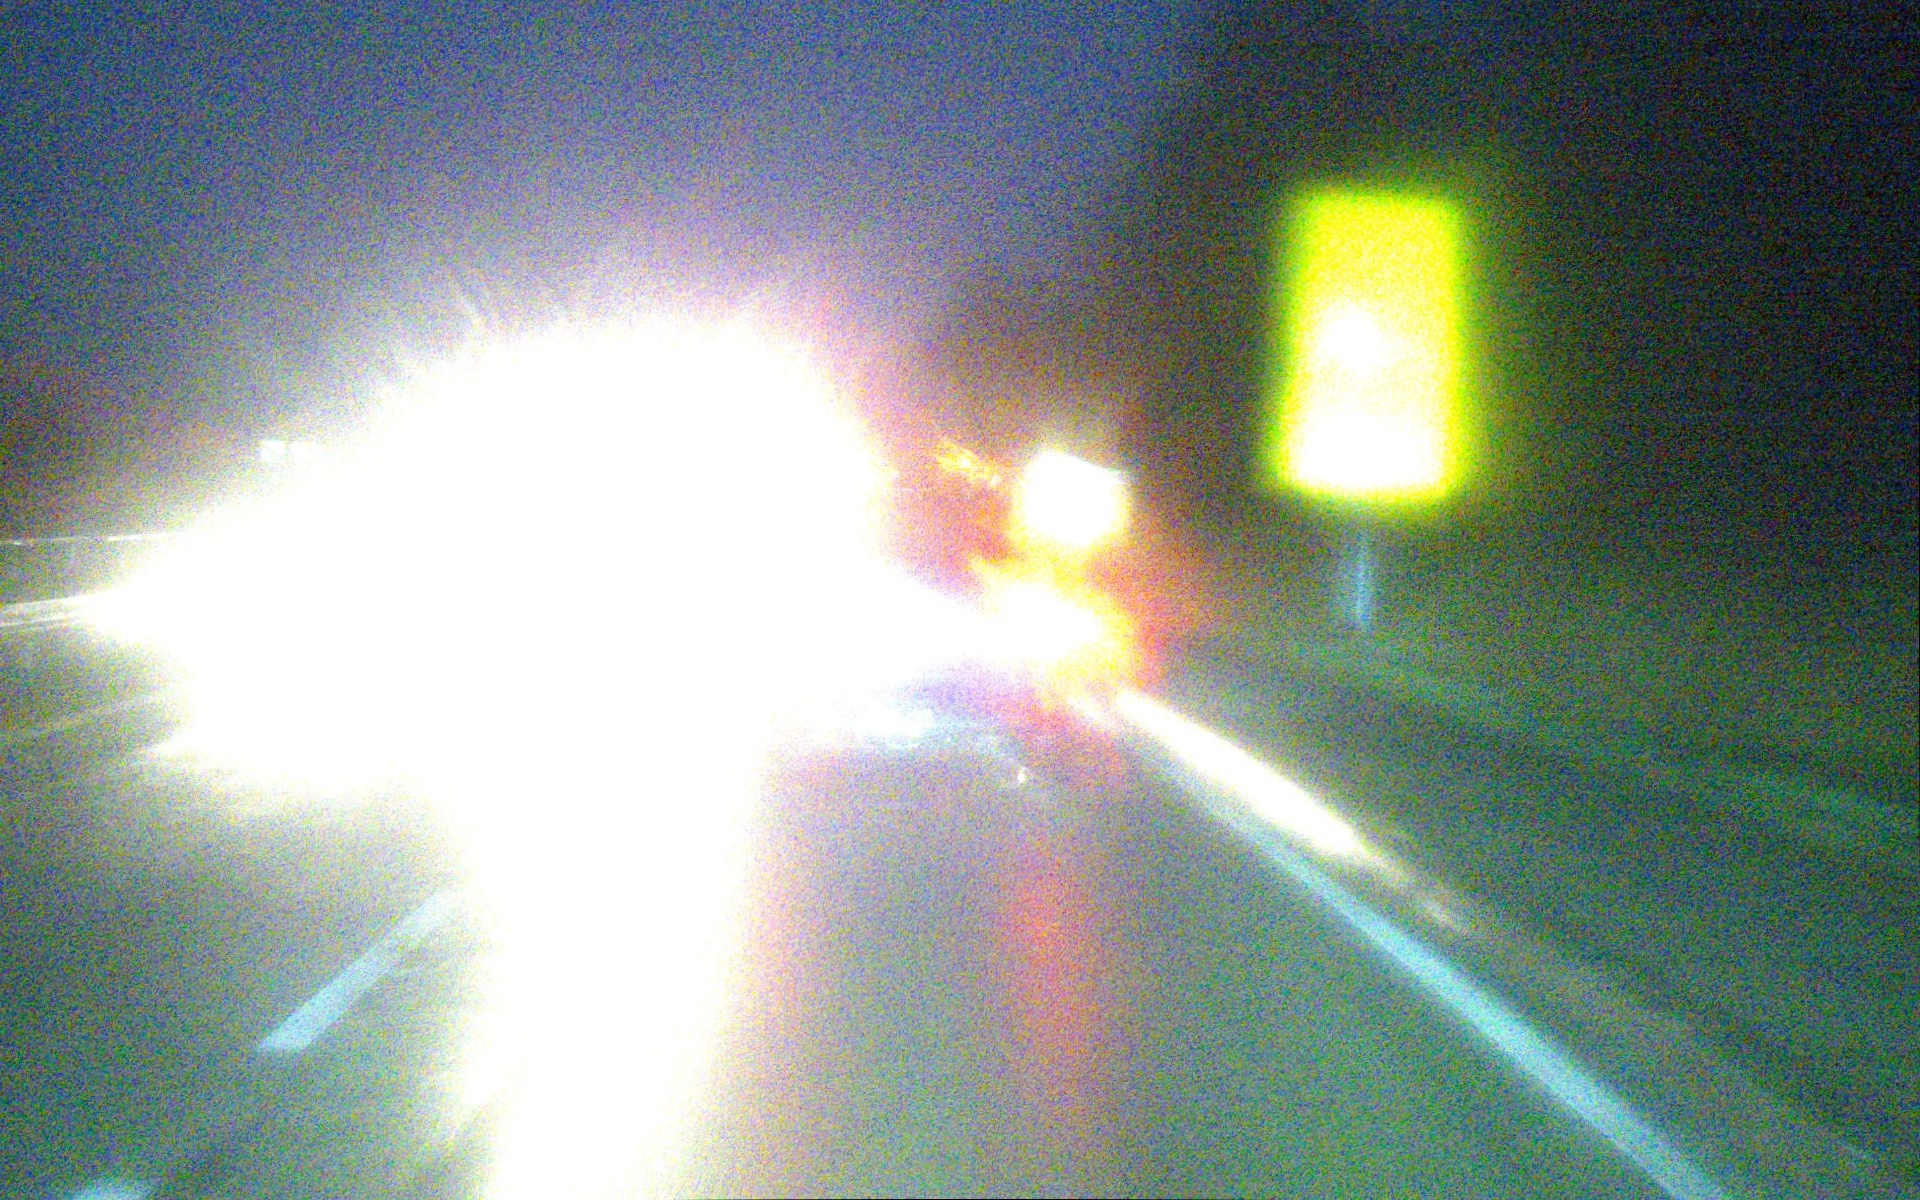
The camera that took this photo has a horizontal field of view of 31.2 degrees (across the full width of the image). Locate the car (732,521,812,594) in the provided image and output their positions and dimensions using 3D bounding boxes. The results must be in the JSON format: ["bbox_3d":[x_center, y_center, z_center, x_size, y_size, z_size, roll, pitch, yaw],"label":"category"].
[{"bbox_3d":[-5.047,-1.150,92.807,1.993,1.908,4.000,1,1,-1],"label":"car"}]

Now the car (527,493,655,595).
[{"bbox_3d":[-6.168,-0.974,57.782,1.862,1.539,4.230,2,2,-3],"label":"car"}]

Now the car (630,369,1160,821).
[{"bbox_3d":[-0.516,-0.079,20.841,2.715,2.299,6.101,1,1,-3],"label":"car"}]
